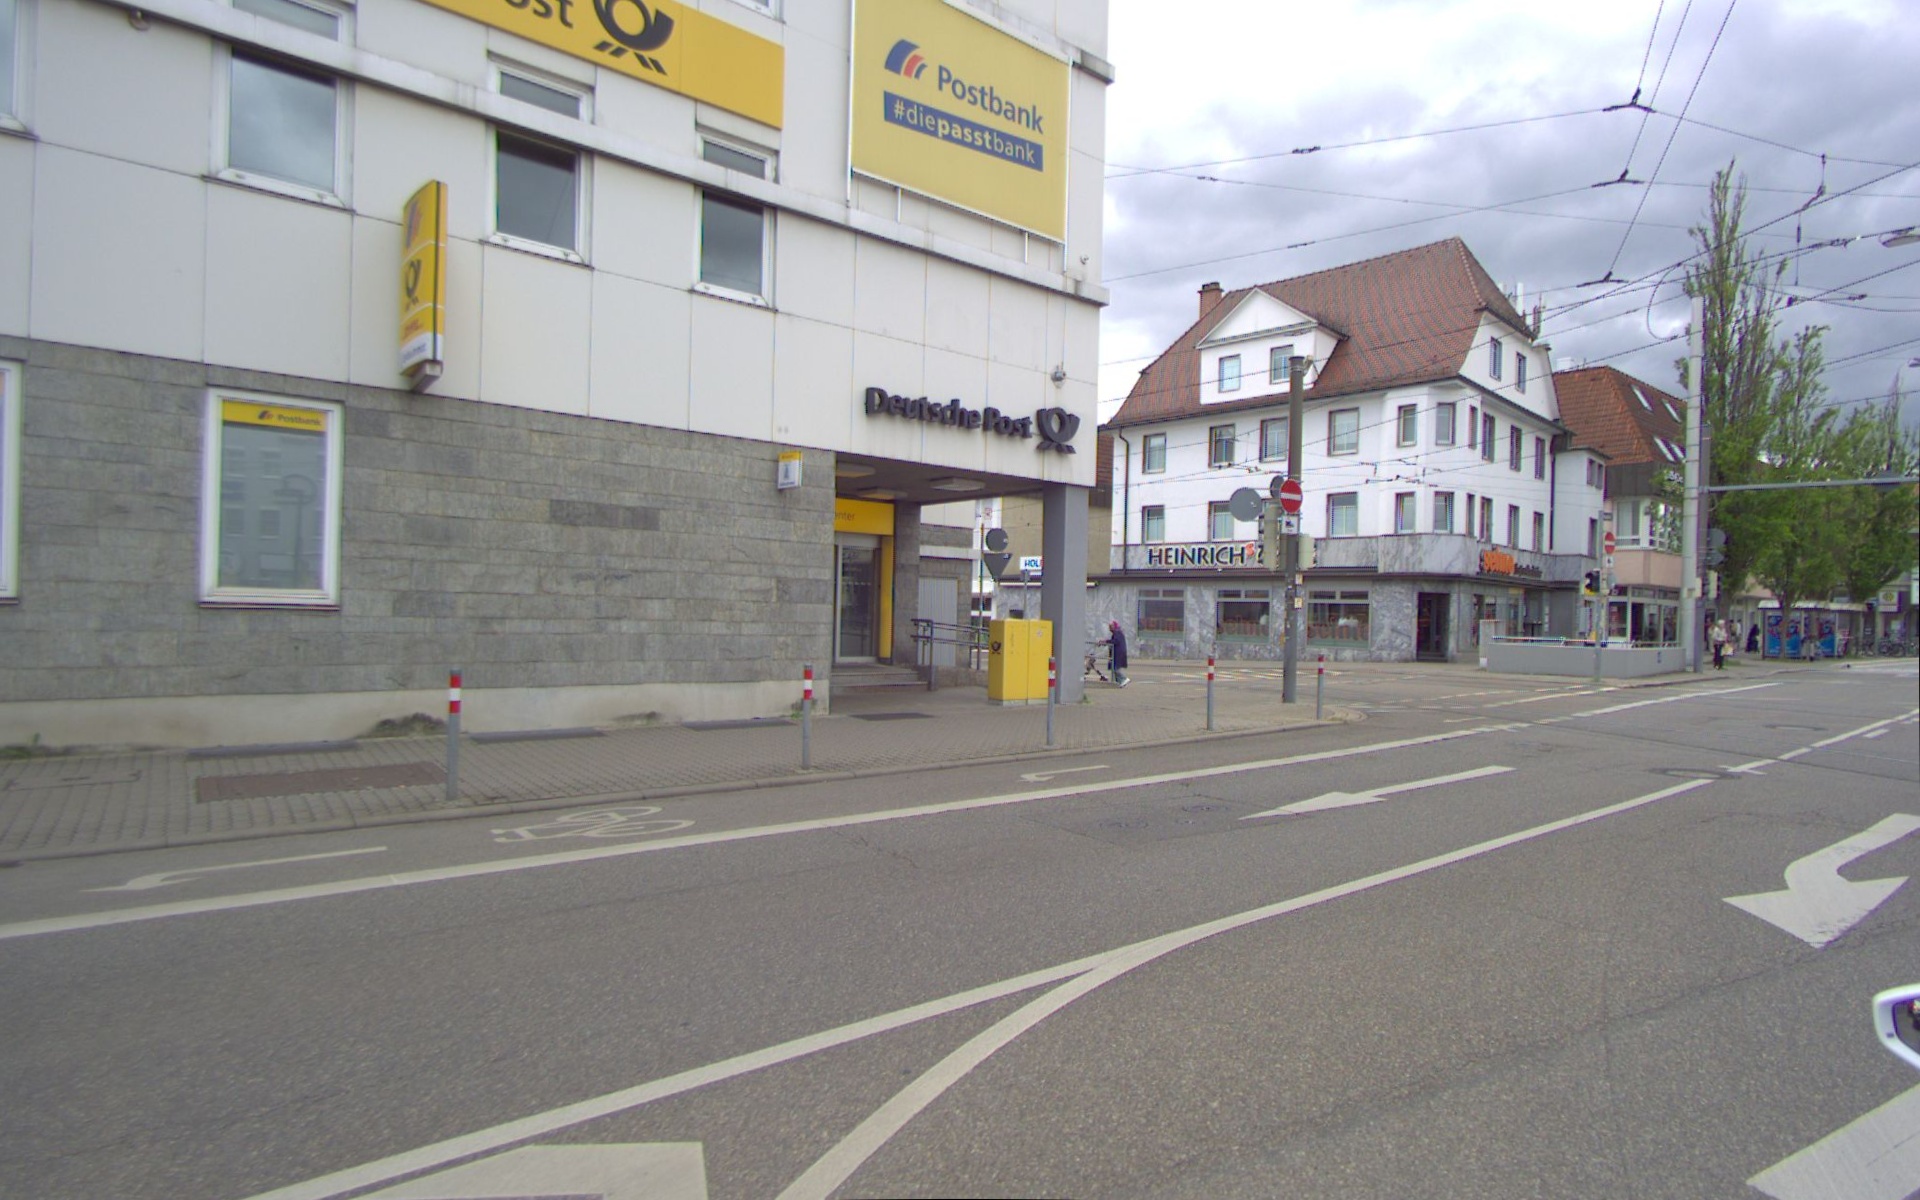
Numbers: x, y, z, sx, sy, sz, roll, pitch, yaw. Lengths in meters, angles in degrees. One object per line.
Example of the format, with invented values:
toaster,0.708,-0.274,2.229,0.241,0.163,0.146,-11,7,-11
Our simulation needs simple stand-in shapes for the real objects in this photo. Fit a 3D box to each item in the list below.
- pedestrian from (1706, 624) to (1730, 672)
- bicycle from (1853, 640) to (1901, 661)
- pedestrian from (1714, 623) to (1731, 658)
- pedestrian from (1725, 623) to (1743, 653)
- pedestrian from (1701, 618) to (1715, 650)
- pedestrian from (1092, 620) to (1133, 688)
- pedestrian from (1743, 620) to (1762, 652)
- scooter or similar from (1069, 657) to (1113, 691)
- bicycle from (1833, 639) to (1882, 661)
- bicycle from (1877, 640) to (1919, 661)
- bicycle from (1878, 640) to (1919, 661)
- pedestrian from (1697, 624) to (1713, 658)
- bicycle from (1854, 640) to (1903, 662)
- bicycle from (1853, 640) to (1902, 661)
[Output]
pedestrian,26.051,1.644,34.519,0.626,1.627,0.701,1,0,40
bicycle,50.244,2.752,55.054,1.917,1.043,0.527,2,1,44
pedestrian,35.467,1.875,46.714,0.571,1.627,0.641,1,0,40
pedestrian,42.694,2.081,55.386,0.692,1.627,0.578,1,0,32
pedestrian,38.948,1.755,52.302,0.571,1.627,0.641,1,0,40
pedestrian,3.318,1.170,21.888,0.739,1.433,0.502,1,0,-12
pedestrian,41.620,1.887,52.734,0.692,1.627,0.578,1,0,32
scooter or similar,2.852,1.602,21.830,0.876,0.701,0.345,1,0,-12
bicycle,48.420,2.689,54.206,1.917,1.043,0.527,2,1,44
bicycle,52.708,2.836,56.274,1.917,1.043,0.527,2,1,44
bicycle,52.071,2.817,55.515,1.917,1.043,0.527,2,1,44
pedestrian,36.418,2.002,49.073,0.571,1.627,0.641,1,0,40
bicycle,49.427,2.727,54.074,1.917,1.043,0.527,2,1,44
bicycle,49.859,2.740,54.587,1.917,1.043,0.527,2,1,44
